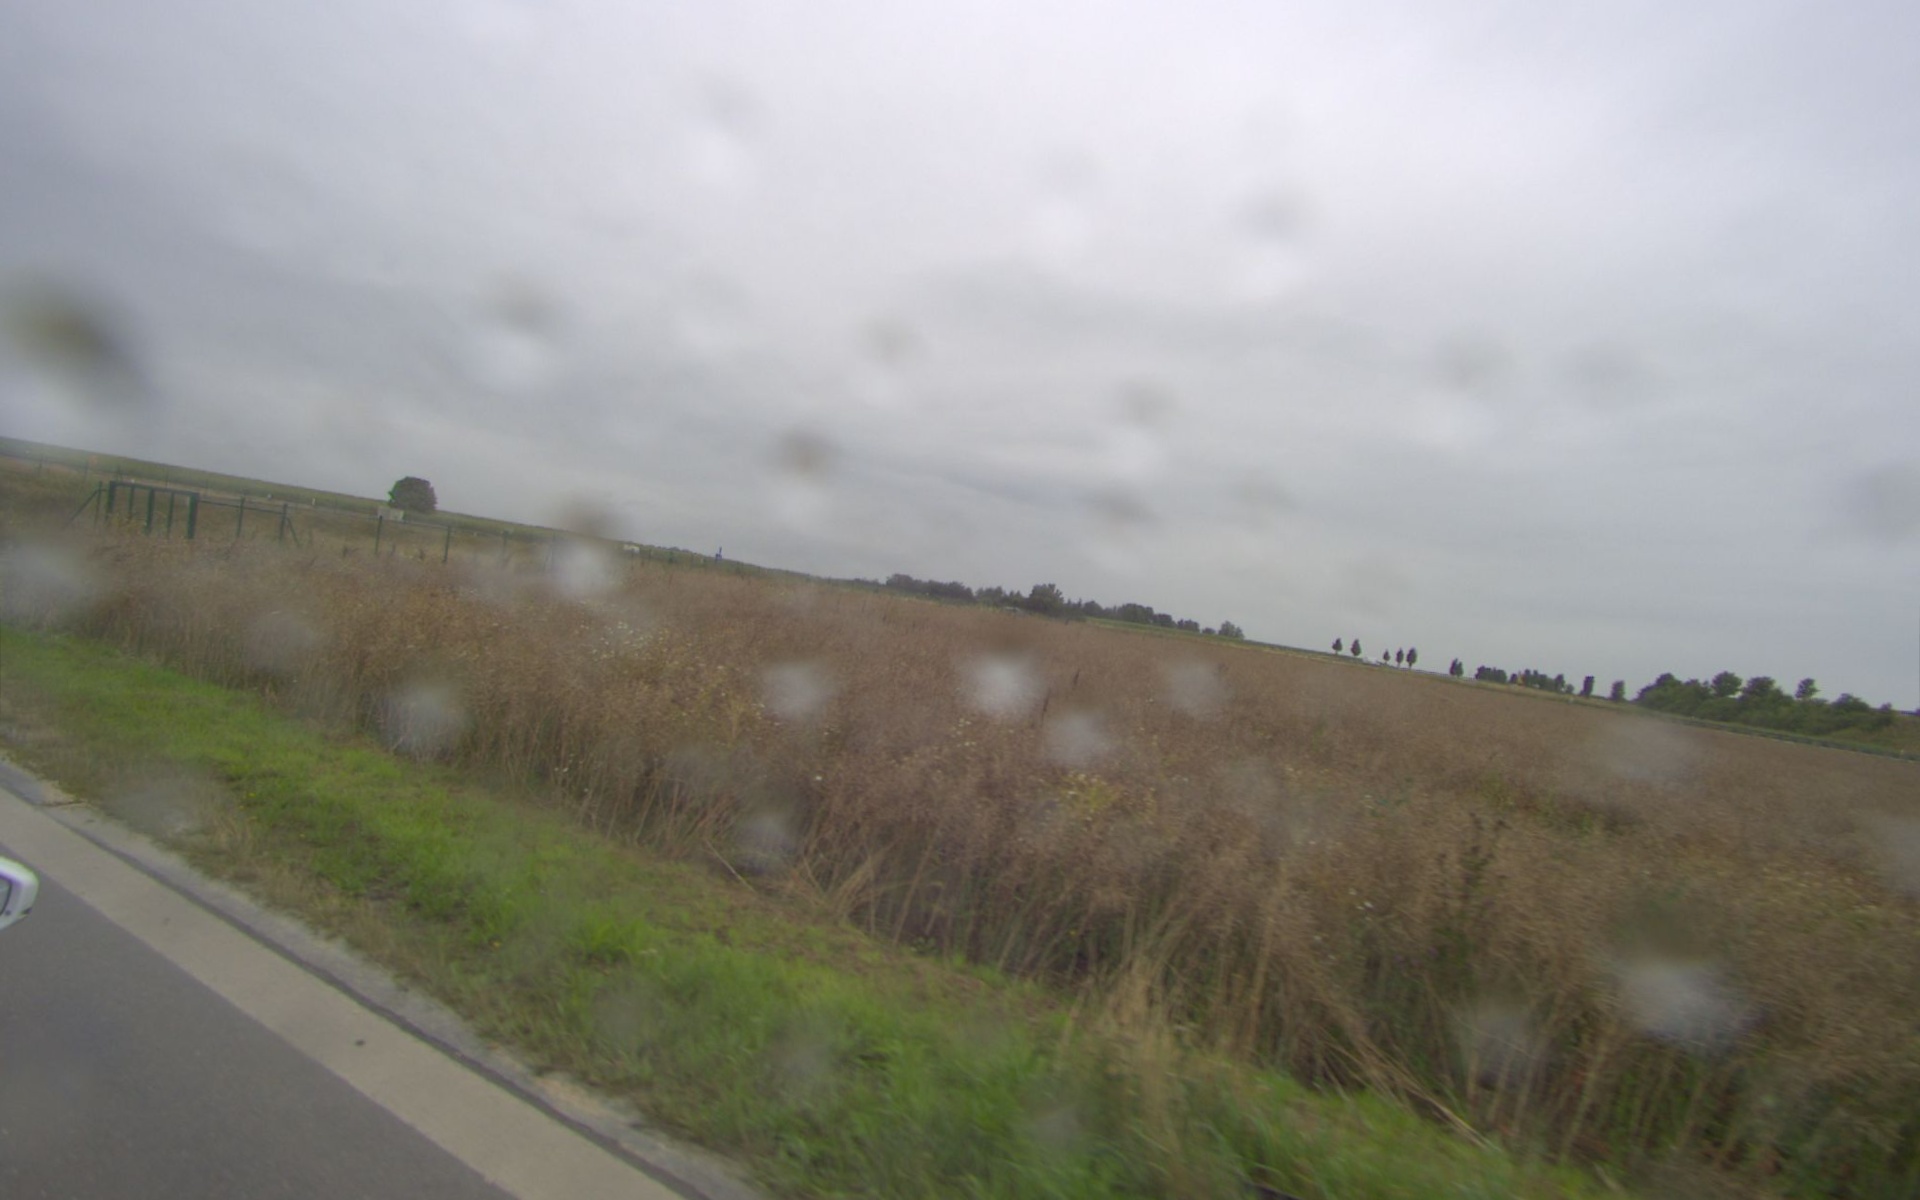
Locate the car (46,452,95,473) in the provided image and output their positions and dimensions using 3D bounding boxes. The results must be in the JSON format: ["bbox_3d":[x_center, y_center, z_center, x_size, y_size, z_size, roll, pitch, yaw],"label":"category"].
[{"bbox_3d":[-107.183,-16.563,121.286,3.935,1.759,1.730,8,2,-11],"label":"car"}]

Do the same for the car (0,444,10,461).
[{"bbox_3d":[-114.993,-17.709,118.642,3.935,1.759,1.730,8,2,-11],"label":"car"}]
